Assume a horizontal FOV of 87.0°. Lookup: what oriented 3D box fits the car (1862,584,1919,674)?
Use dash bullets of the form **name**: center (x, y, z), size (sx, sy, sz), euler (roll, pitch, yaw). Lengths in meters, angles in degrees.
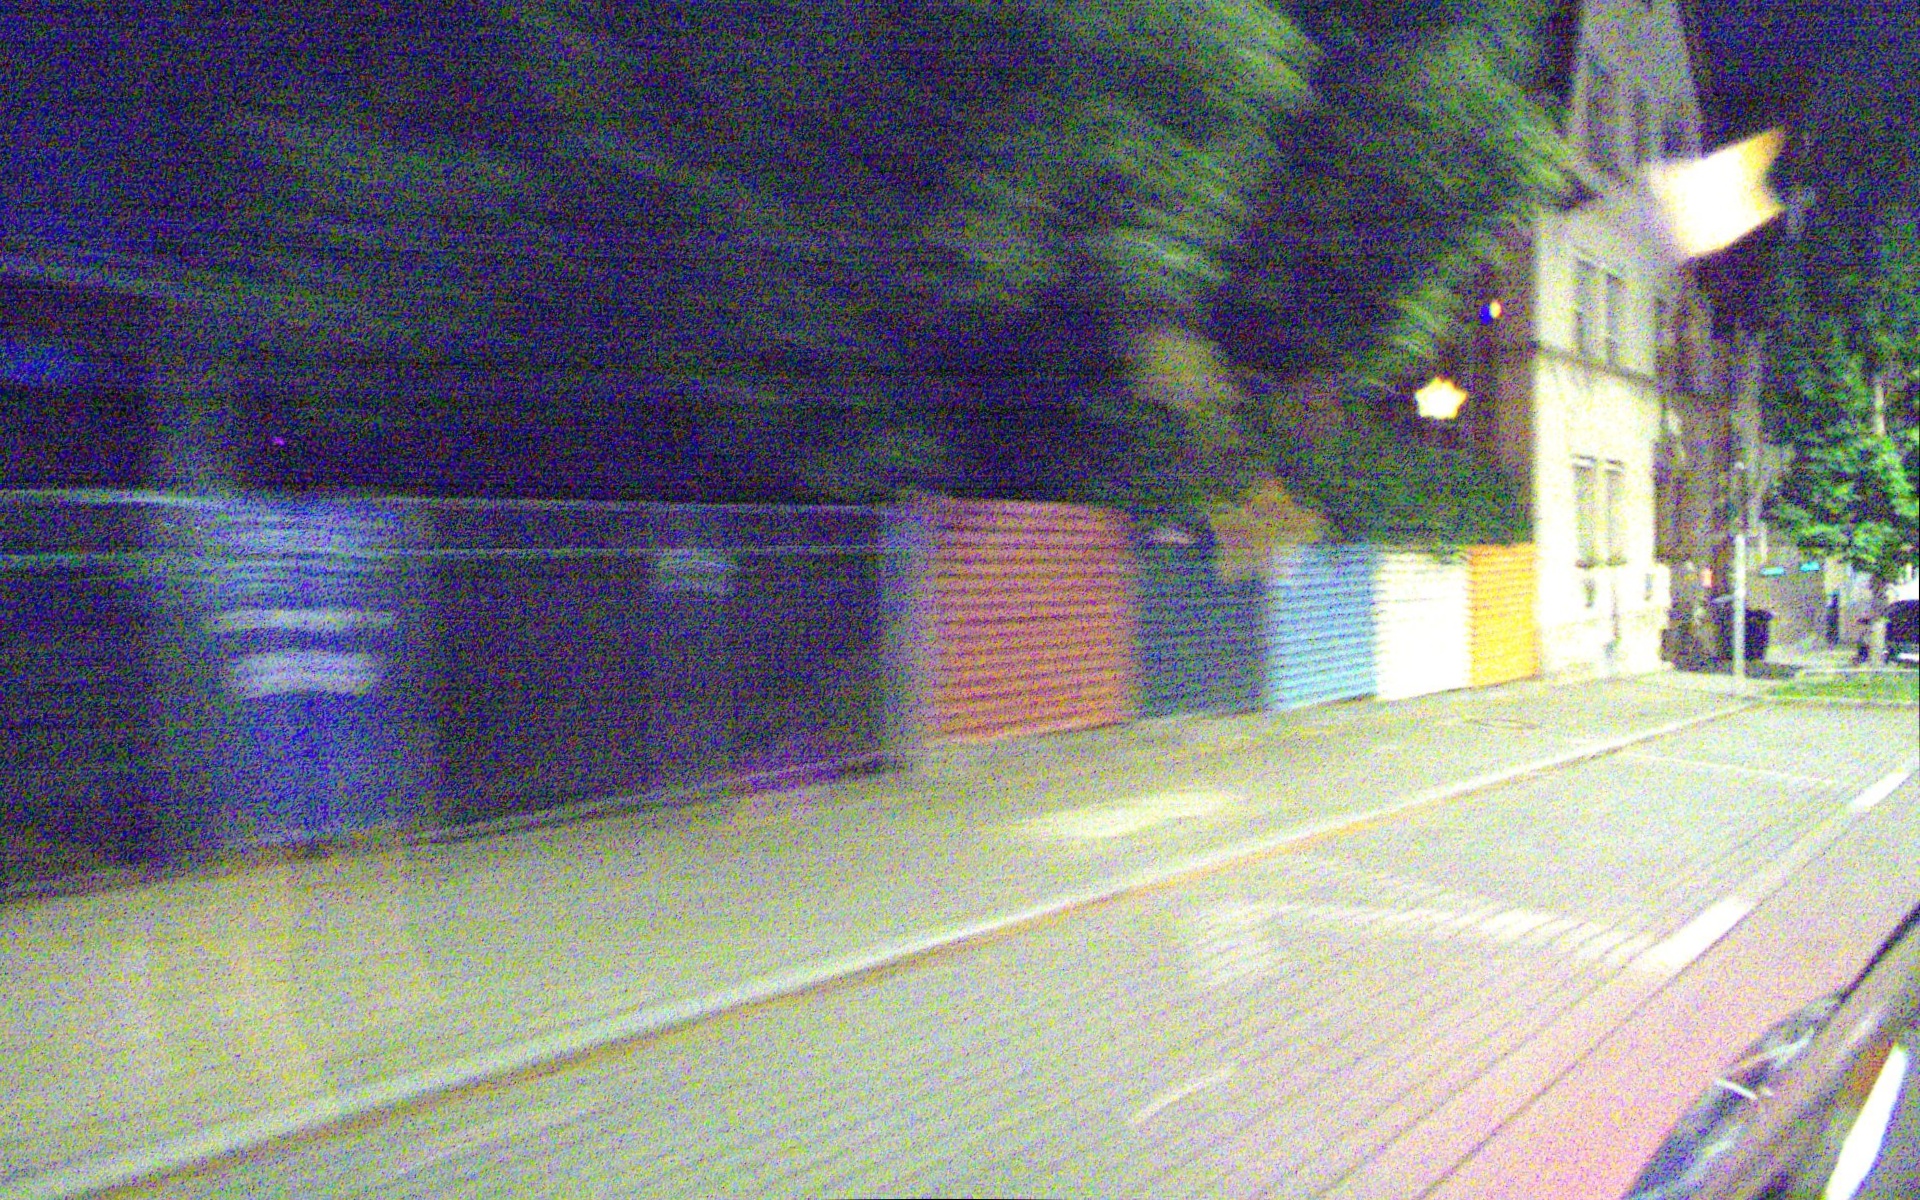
- **car**: center (17.780, 0.509, 18.194), size (4.008, 1.494, 1.767), euler (0, 2, -40)
